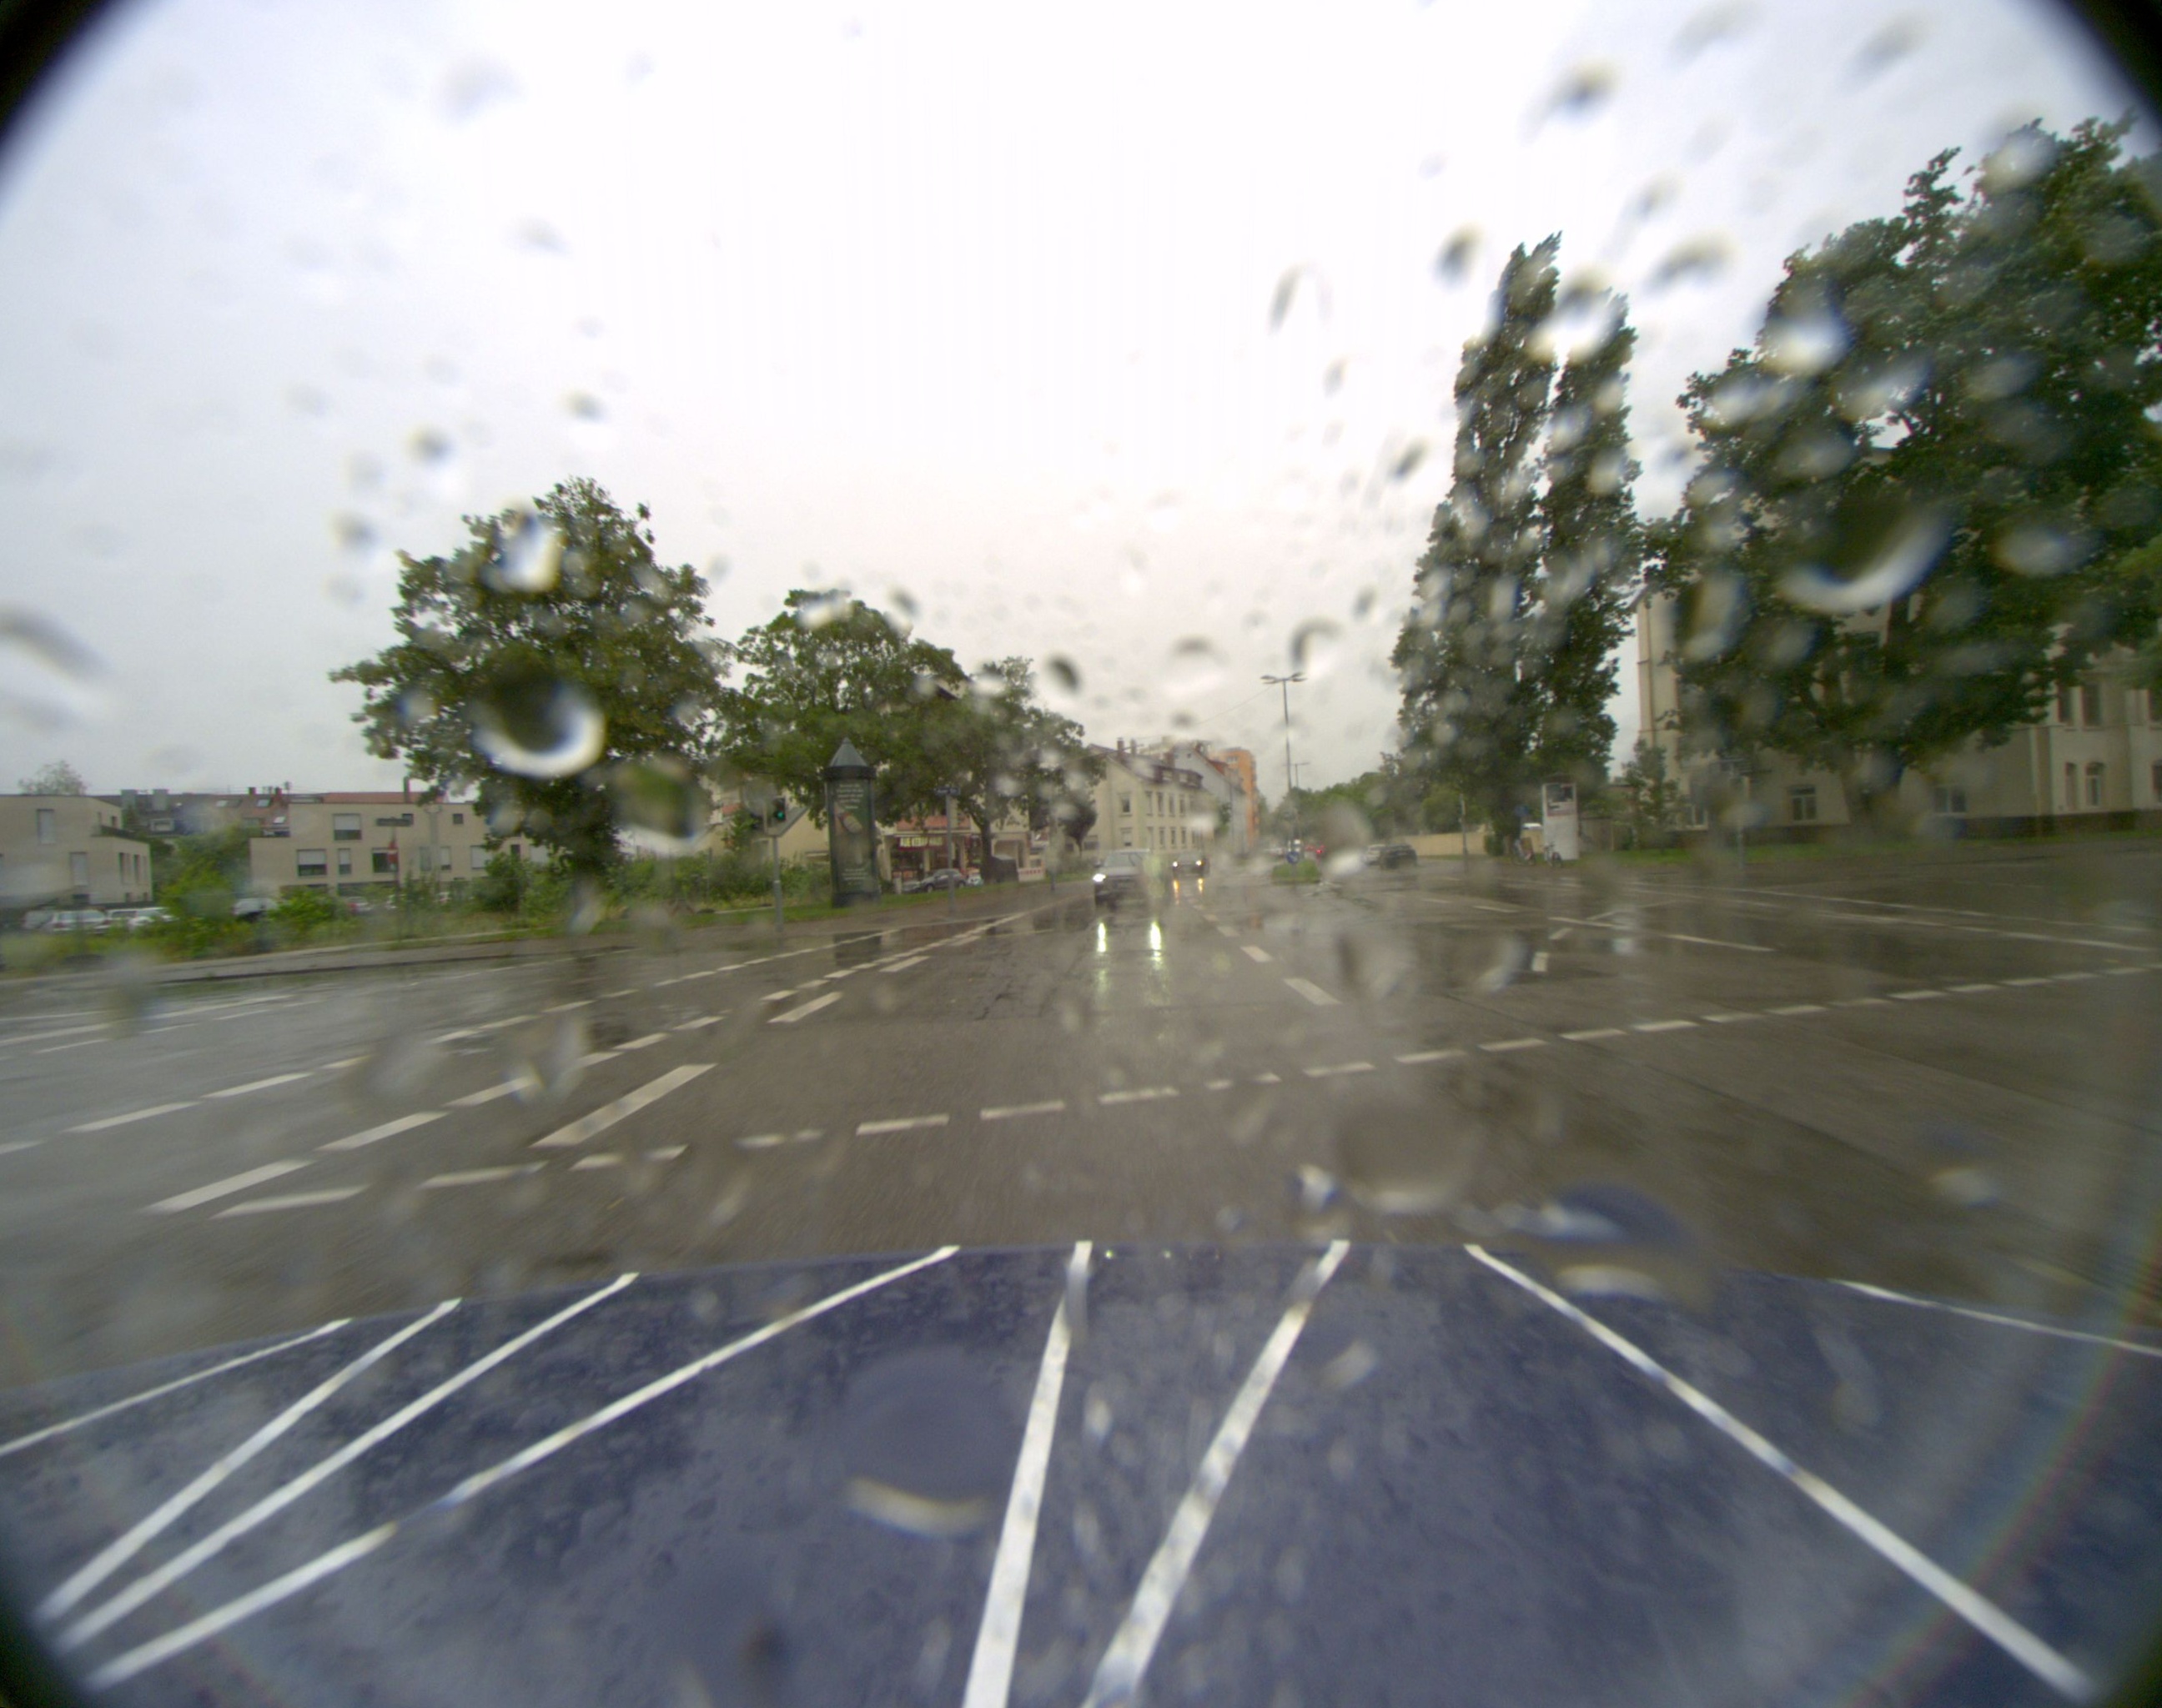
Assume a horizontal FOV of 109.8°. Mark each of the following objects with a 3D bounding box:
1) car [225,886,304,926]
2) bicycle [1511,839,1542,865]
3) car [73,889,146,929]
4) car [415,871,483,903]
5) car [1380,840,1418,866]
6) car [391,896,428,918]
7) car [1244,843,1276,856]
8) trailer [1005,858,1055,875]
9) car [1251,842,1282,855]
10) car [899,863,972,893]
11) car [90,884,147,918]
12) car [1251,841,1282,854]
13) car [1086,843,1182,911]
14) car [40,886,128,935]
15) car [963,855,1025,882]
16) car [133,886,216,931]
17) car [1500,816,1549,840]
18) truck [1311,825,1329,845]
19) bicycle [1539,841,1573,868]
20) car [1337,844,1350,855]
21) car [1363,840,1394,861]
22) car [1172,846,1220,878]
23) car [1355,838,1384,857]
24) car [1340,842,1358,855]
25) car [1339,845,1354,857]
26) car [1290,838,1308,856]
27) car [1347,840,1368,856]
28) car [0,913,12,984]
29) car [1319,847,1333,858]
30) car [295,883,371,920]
[{"bbox_3d":[-43.293,2.772,40.279,3.990,1.849,2.003,-3,1,31],"label":"car"},{"bbox_3d":[20.774,-0.110,35.483,0.698,1.179,1.625,-4,1,11],"label":"bicycle"},{"bbox_3d":[-54.514,3.093,42.634,3.990,2.002,2.003,-3,1,32],"label":"car"},{"bbox_3d":[-38.566,2.030,46.361,3.990,1.674,1.912,-3,1,32],"label":"car"},{"bbox_3d":[19.815,-0.097,47.430,1.547,1.389,4.198,-5,0,15],"label":"car"},{"bbox_3d":[-47.657,3.710,53.918,1.770,1.335,4.082,-4,1,-43],"label":"car"},{"bbox_3d":[22.982,-0.573,97.368,3.756,1.446,1.803,-4,-1,18],"label":"car"},{"bbox_3d":[-4.314,1.068,63.857,1.827,1.224,4.522,-4,1,-40],"label":"trailer"},{"bbox_3d":[25.425,-0.773,104.349,3.919,1.472,1.859,-4,1,18],"label":"car"},{"bbox_3d":[-8.307,1.349,43.737,1.699,1.425,4.163,-3,1,30],"label":"car"},{"bbox_3d":[-64.207,3.149,50.732,3.989,2.002,2.003,-3,1,42],"label":"car"},{"bbox_3d":[26.045,-0.892,106.727,3.919,1.605,1.693,-4,1,18],"label":"car"},{"bbox_3d":[1.684,0.619,22.709,1.959,1.702,4.178,-4,1,15],"label":"car"},{"bbox_3d":[-46.433,2.645,35.373,3.990,2.002,2.003,-3,1,32],"label":"car"},{"bbox_3d":[-5.439,0.910,48.073,1.635,1.425,4.183,-3,1,30],"label":"car"},{"bbox_3d":[-45.311,2.715,37.967,3.990,2.002,2.003,-3,1,32],"label":"car"},{"bbox_3d":[50.275,-2.934,86.237,2.150,2.383,4.715,-4,1,-12],"label":"car"},{"bbox_3d":[57.752,-4.569,183.618,3.828,4.359,10.797,-4,1,18],"label":"truck"},{"bbox_3d":[20.178,0.015,32.314,0.556,1.071,1.797,-4,1,11],"label":"bicycle"},{"bbox_3d":[38.195,-0.656,110.649,1.692,1.445,3.722,-4,1,19],"label":"car"},{"bbox_3d":[22.775,-0.297,58.261,1.604,1.465,4.126,-4,1,14],"label":"car"},{"bbox_3d":[6.768,0.417,44.540,1.829,1.619,4.005,-4,1,22],"label":"car"},{"bbox_3d":[24.191,-0.540,63.790,1.729,1.375,4.184,-5,0,15],"label":"car"},{"bbox_3d":[34.378,-0.723,97.604,1.777,1.451,4.685,-4,1,16],"label":"car"},{"bbox_3d":[36.829,-0.448,105.509,1.626,1.589,3.801,-4,1,14],"label":"car"},{"bbox_3d":[30.100,-0.963,104.777,2.191,2.242,4.890,-4,1,18],"label":"car"},{"bbox_3d":[28.306,-0.617,77.950,1.698,1.437,4.101,-4,0,16],"label":"car"},{"bbox_3d":[-27.182,2.350,16.620,1.855,1.645,4.312,-3,1,36],"label":"car"},{"bbox_3d":[33.489,-0.238,103.929,1.729,1.385,3.954,0,1,15],"label":"car"},{"bbox_3d":[-41.745,2.659,42.417,3.990,1.849,2.003,-3,1,31],"label":"car"}]
